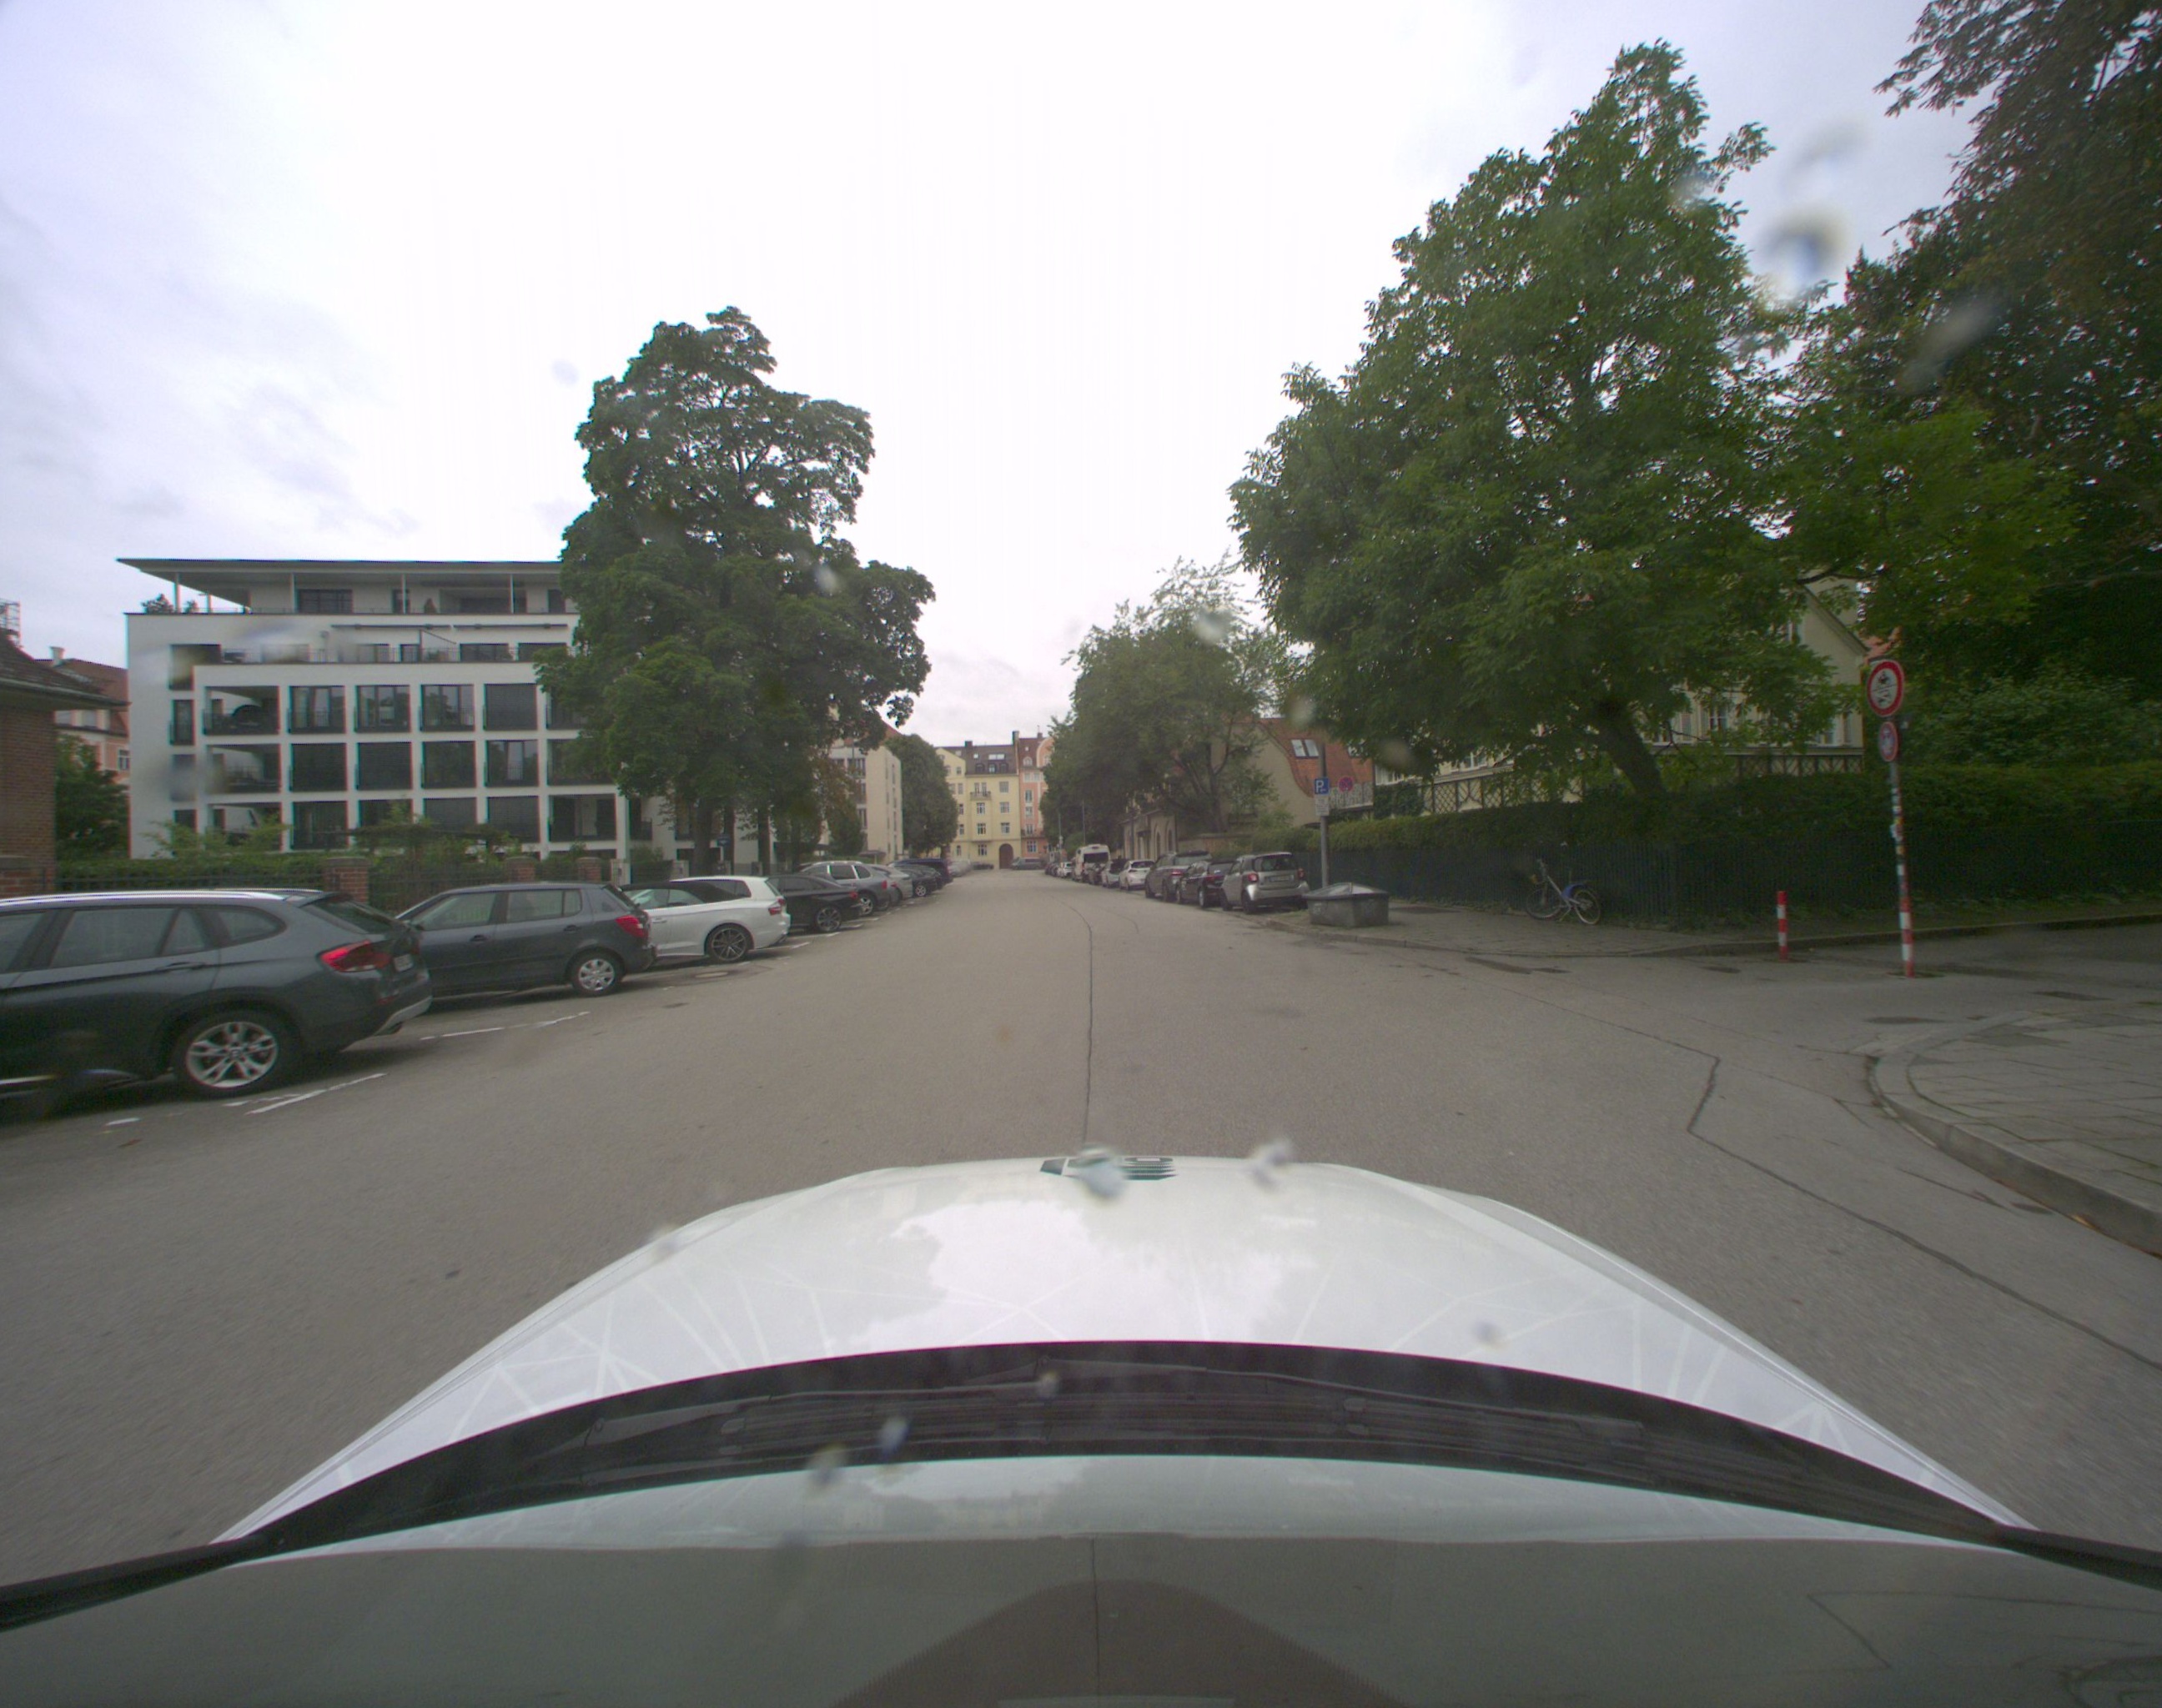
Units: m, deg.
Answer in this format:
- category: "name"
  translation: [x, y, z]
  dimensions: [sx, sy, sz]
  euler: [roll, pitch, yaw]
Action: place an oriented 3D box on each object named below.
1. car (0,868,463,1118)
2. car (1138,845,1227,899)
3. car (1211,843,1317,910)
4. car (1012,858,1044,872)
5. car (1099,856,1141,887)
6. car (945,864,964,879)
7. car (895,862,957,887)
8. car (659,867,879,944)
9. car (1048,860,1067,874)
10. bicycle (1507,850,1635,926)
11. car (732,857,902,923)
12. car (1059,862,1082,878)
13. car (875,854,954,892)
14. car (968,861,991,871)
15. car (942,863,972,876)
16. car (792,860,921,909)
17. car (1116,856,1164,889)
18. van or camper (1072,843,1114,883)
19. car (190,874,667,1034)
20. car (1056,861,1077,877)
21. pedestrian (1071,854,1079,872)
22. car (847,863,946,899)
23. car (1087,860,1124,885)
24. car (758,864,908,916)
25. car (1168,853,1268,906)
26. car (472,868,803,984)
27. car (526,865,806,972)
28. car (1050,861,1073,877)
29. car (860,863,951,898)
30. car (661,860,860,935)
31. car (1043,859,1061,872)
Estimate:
- category: "car"
  translation: [-7.726, 0.993, 6.180]
  dimensions: [4.538, 1.567, 1.872]
  euler: [-2, -1, -28]
- category: "car"
  translation: [3.663, 0.647, 30.314]
  dimensions: [1.993, 1.711, 4.870]
  euler: [-3, 0, -8]
- category: "car"
  translation: [4.778, 0.589, 21.620]
  dimensions: [1.738, 1.536, 2.937]
  euler: [-3, -1, -8]
- category: "car"
  translation: [-8.112, 1.682, 124.918]
  dimensions: [4.700, 1.881, 1.835]
  euler: [-1, -1, -8]
- category: "car"
  translation: [2.107, 0.931, 44.931]
  dimensions: [1.704, 1.537, 4.232]
  euler: [-4, 0, -5]
- category: "car"
  translation: [-14.255, 1.915, 91.959]
  dimensions: [1.832, 1.508, 3.992]
  euler: [-5, 0, -5]
- category: "car"
  translation: [-11.481, 1.509, 60.575]
  dimensions: [4.140, 1.609, 1.717]
  euler: [-3, 0, -38]
- category: "car"
  translation: [-7.256, 1.137, 19.136]
  dimensions: [4.432, 1.439, 1.944]
  euler: [-2, -1, -37]
- category: "car"
  translation: [-2.646, 1.404, 90.272]
  dimensions: [1.669, 1.344, 3.826]
  euler: [-3, 1, -8]
- category: "bicycle"
  translation: [8.221, 0.528, 13.788]
  dimensions: [0.805, 1.162, 1.969]
  euler: [-2, 0, -6]
- category: "car"
  translation: [-7.969, 1.051, 24.762]
  dimensions: [4.434, 1.699, 2.112]
  euler: [-2, -1, -38]
- category: "car"
  translation: [-1.009, 1.484, 75.723]
  dimensions: [1.705, 1.408, 4.120]
  euler: [-3, 0, -7]
- category: "car"
  translation: [-10.068, 1.140, 49.326]
  dimensions: [4.236, 2.066, 1.718]
  euler: [-3, 0, -35]
- category: "car"
  translation: [-18.290, 2.157, 146.395]
  dimensions: [3.980, 1.586, 1.700]
  euler: [-2, -1, -5]
- category: "car"
  translation: [-17.319, 2.129, 113.854]
  dimensions: [3.983, 1.508, 1.836]
  euler: [-5, 0, -7]
- category: "car"
  translation: [-8.568, 1.136, 31.115]
  dimensions: [4.422, 1.621, 2.068]
  euler: [-2, -1, -27]
- category: "car"
  translation: [2.815, 0.907, 39.848]
  dimensions: [1.683, 1.441, 3.992]
  euler: [-3, -1, -5]
- category: "van or camper"
  translation: [0.782, 0.615, 57.500]
  dimensions: [2.190, 2.550, 5.715]
  euler: [-3, 0, -6]
- category: "car"
  translation: [-7.742, 1.091, 10.301]
  dimensions: [4.406, 1.451, 1.642]
  euler: [-3, 0, -27]
- category: "car"
  translation: [-1.445, 1.495, 80.636]
  dimensions: [1.704, 1.466, 3.830]
  euler: [-3, 0, -5]
- category: "pedestrian"
  translation: [-0.693, 0.990, 89.675]
  dimensions: [0.772, 2.014, 0.561]
  euler: [-2, -1, -6]
- category: "car"
  translation: [-8.801, 1.278, 39.035]
  dimensions: [4.237, 1.461, 1.718]
  euler: [-3, 0, -36]
- category: "car"
  translation: [1.505, 1.112, 50.679]
  dimensions: [1.705, 1.369, 4.432]
  euler: [-3, 0, -5]
- category: "car"
  translation: [-8.402, 1.186, 27.712]
  dimensions: [4.433, 1.491, 1.994]
  euler: [-2, -1, -38]
- category: "car"
  translation: [4.201, 0.754, 25.710]
  dimensions: [1.876, 1.427, 4.210]
  euler: [-3, 0, -8]
- category: "car"
  translation: [-7.203, 1.080, 13.619]
  dimensions: [4.531, 1.451, 1.878]
  euler: [-2, -1, -30]
- category: "car"
  translation: [-7.953, 1.145, 15.905]
  dimensions: [4.531, 1.509, 1.913]
  euler: [-4, 0, -30]
- category: "car"
  translation: [-2.048, 1.535, 84.879]
  dimensions: [1.803, 1.466, 3.825]
  euler: [-3, 1, -9]
- category: "car"
  translation: [-9.014, 1.345, 41.802]
  dimensions: [4.227, 1.461, 1.722]
  euler: [-3, 0, -27]
- category: "car"
  translation: [-8.283, 1.077, 21.258]
  dimensions: [4.434, 1.630, 1.943]
  euler: [-2, -1, -38]
- category: "car"
  translation: [-3.371, 1.313, 95.134]
  dimensions: [1.669, 1.344, 3.826]
  euler: [-3, 1, -8]
